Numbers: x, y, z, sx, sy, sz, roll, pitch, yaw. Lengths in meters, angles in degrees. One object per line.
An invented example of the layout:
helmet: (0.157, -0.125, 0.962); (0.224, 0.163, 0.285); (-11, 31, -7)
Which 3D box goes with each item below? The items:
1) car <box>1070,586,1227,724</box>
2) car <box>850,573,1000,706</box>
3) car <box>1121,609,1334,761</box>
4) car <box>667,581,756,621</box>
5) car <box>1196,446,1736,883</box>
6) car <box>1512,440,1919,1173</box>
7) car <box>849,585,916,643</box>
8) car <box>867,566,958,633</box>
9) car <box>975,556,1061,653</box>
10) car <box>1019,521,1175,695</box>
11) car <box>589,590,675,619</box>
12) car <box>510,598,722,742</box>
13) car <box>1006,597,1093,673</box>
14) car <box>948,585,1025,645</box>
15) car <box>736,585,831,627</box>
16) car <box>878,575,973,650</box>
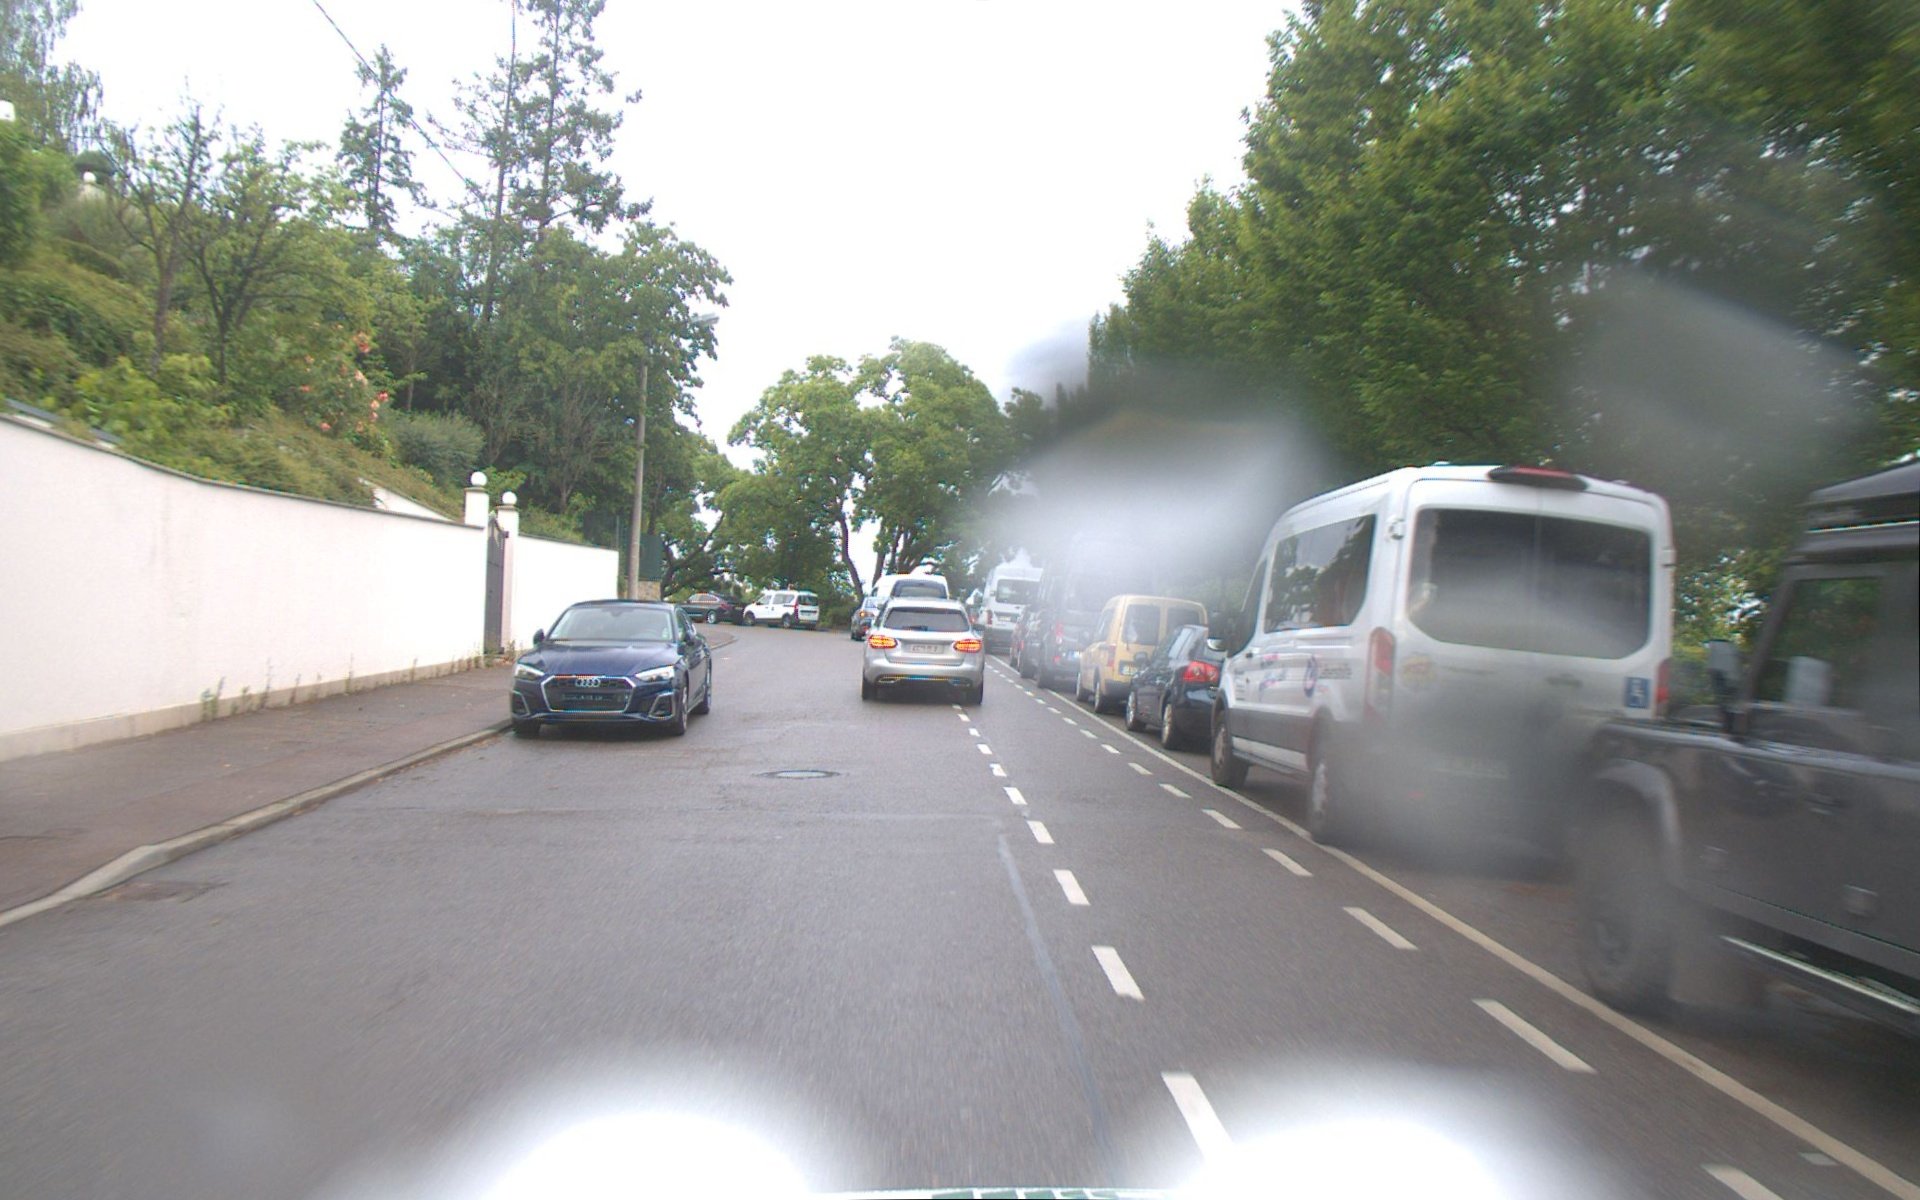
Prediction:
car: (2.860, 0.774, 25.922); (1.693, 1.816, 4.274); (5, 0, -2)
car: (-0.577, 0.523, 24.798); (1.985, 1.738, 4.213); (3, 0, -3)
car: (3.163, 0.952, 20.354); (1.639, 1.483, 4.221); (5, 0, -3)
car: (-12.688, 0.060, 84.306); (4.589, 1.727, 1.958); (4, 1, 42)
car: (3.536, 0.378, 13.143); (2.130, 2.536, 6.031); (4, 0, -2)
car: (3.712, 0.623, 5.243); (1.954, 2.088, 5.119); (3, 0, -3)
car: (-2.467, 0.458, 53.760); (1.953, 1.738, 3.999); (3, -1, -1)
car: (-2.094, -0.052, 71.051); (2.100, 2.570, 4.458); (3, 0, -27)
car: (1.613, 0.094, 48.037); (2.023, 2.537, 4.757); (4, 0, -2)
car: (2.524, 0.109, 32.065); (2.082, 2.937, 5.766); (4, 0, -3)
car: (-17.420, 0.224, 87.753); (4.402, 1.426, 1.965); (1, 1, 33)
car: (-3.776, 0.700, 18.835); (1.714, 1.381, 4.422); (0, 1, -3)
car: (2.032, 0.769, 38.416); (1.552, 1.554, 3.584); (4, 0, -3)
car: (0.938, 0.511, 61.738); (2.026, 1.994, 4.487); (4, 0, -10)
car: (-8.629, 0.306, 80.656); (4.412, 1.727, 1.961); (4, 1, 39)
car: (-0.942, 0.313, 42.614); (1.956, 1.738, 3.993); (3, -1, -8)
